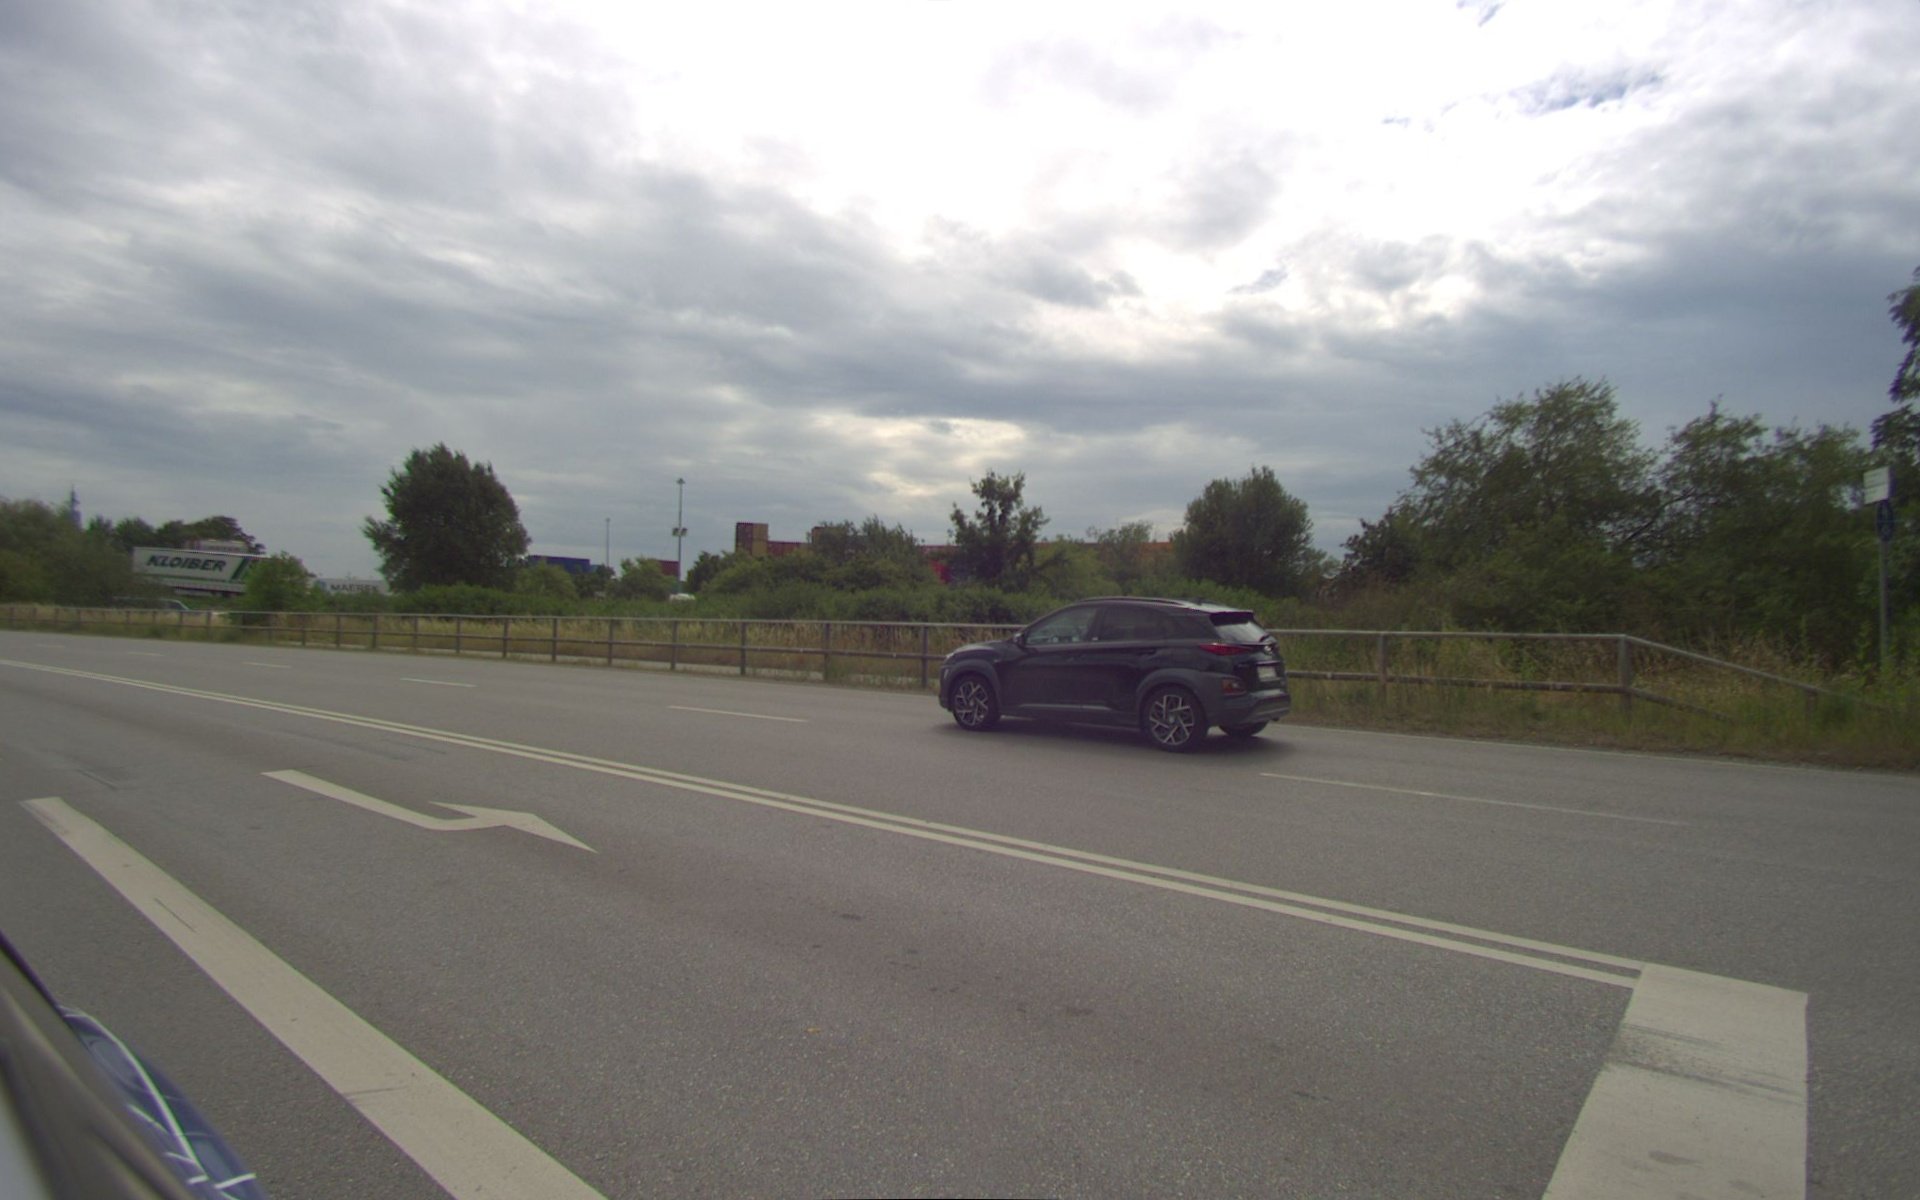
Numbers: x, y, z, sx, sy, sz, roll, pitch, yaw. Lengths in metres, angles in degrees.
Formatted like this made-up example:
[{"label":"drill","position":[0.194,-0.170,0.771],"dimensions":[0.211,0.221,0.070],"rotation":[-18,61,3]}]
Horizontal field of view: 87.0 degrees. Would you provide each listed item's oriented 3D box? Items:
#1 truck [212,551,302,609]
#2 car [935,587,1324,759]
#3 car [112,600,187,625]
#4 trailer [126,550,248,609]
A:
[{"label":"truck","position":[-62.390,-1.762,89.856],"dimensions":[6.105,5.034,2.804],"rotation":[1,0,1]},{"label":"car","position":[1.779,0.699,11.353],"dimensions":[3.998,1.585,1.772],"rotation":[-1,-1,41]},{"label":"car","position":[-62.713,0.947,78.351],"dimensions":[4.473,1.890,2.004],"rotation":[0,0,-39]},{"label":"trailer","position":[-68.641,-1.833,89.981],"dimensions":[8.860,5.034,2.806],"rotation":[1,0,1]}]
